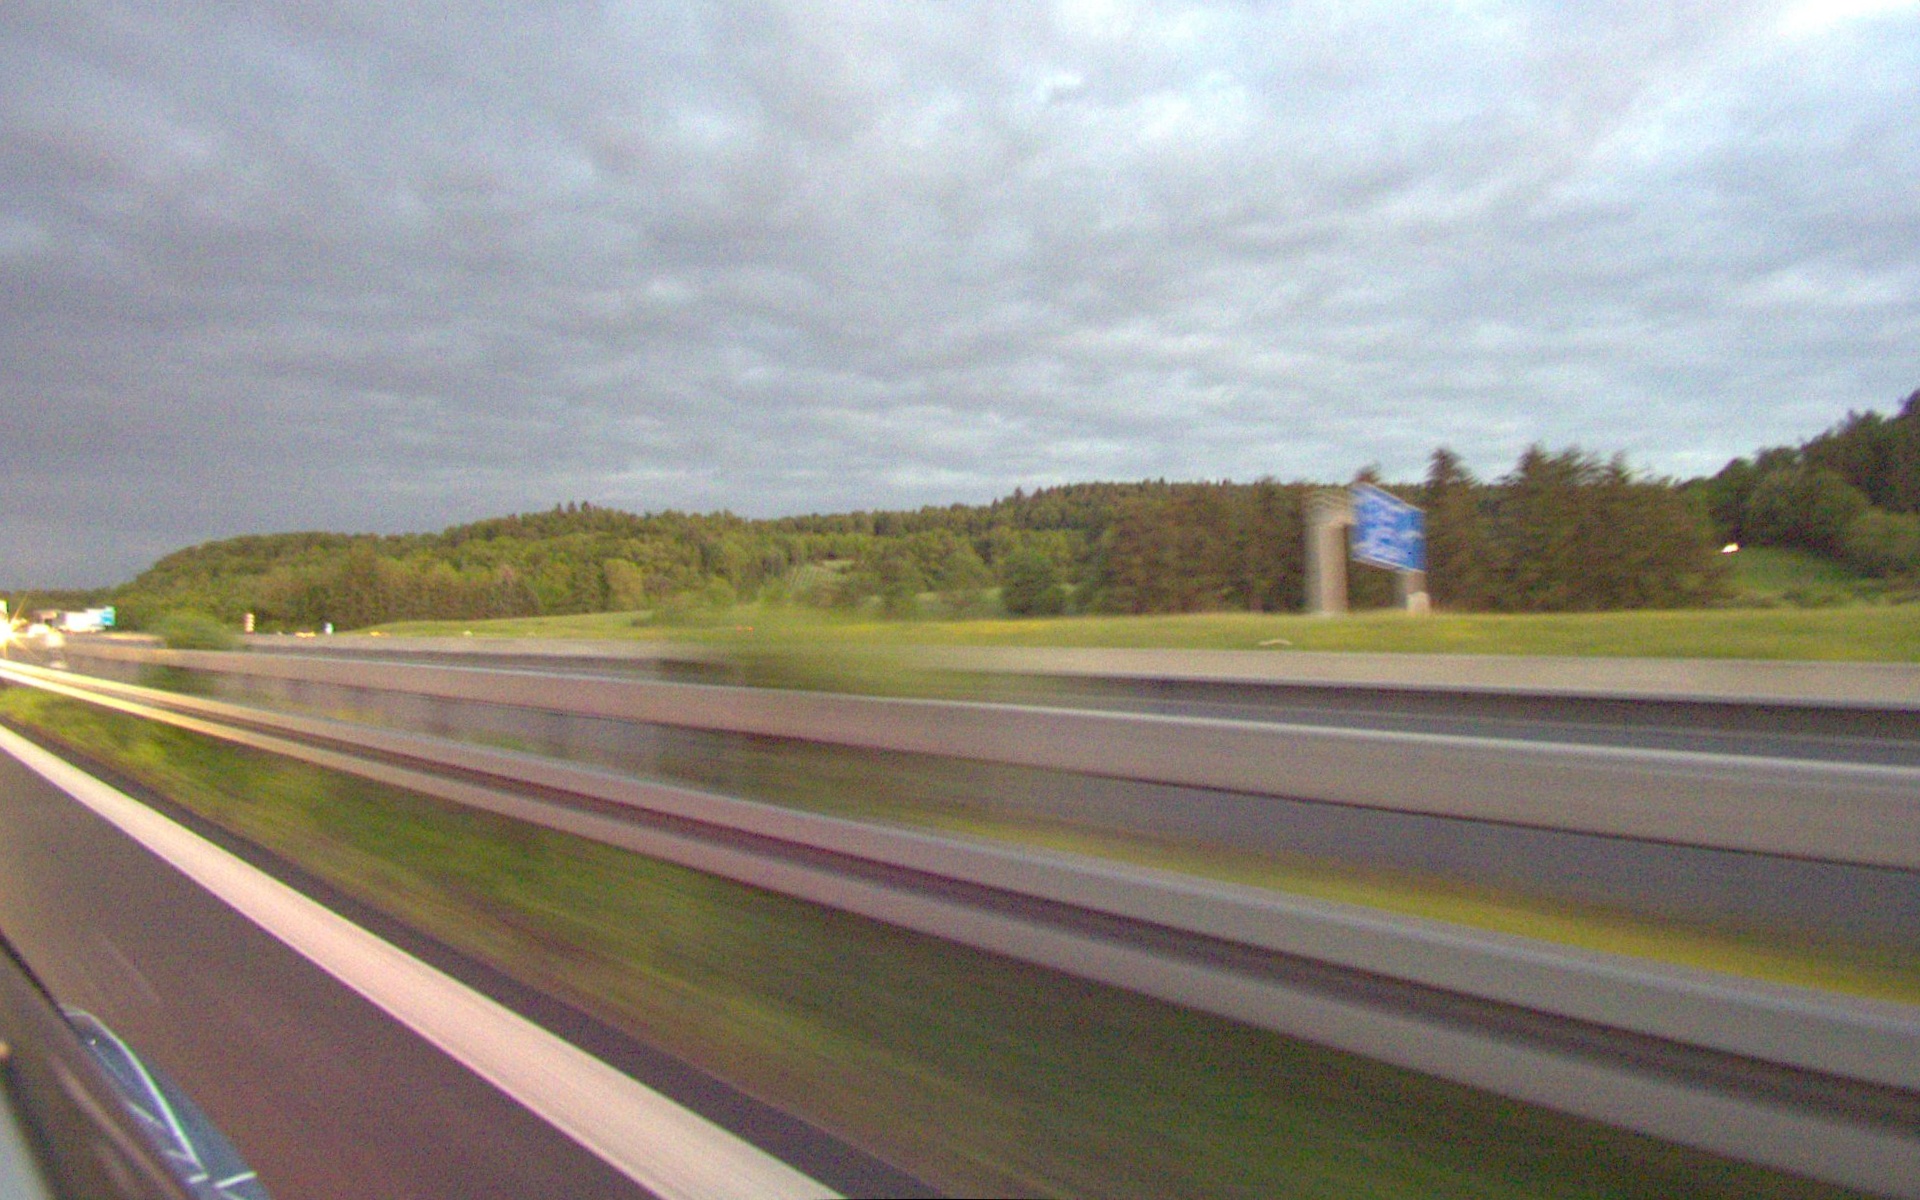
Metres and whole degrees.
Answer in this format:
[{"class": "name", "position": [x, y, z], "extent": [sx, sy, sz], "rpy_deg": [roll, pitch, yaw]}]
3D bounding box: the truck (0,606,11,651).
[{"class": "truck", "position": [-95.673, 2.762, 99.041], "extent": [9.886, 4.334, 3.006], "rpy_deg": [-2, -3, 41]}]

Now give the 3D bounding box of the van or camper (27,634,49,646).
[{"class": "van or camper", "position": [-146.879, 6.384, 161.223], "extent": [5.535, 1.921, 1.871], "rpy_deg": [-2, -2, 40]}]

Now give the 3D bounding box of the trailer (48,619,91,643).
[{"class": "trailer", "position": [-144.103, 5.011, 163.686], "extent": [13.878, 3.794, 3.292], "rpy_deg": [-2, -3, 41]}]
